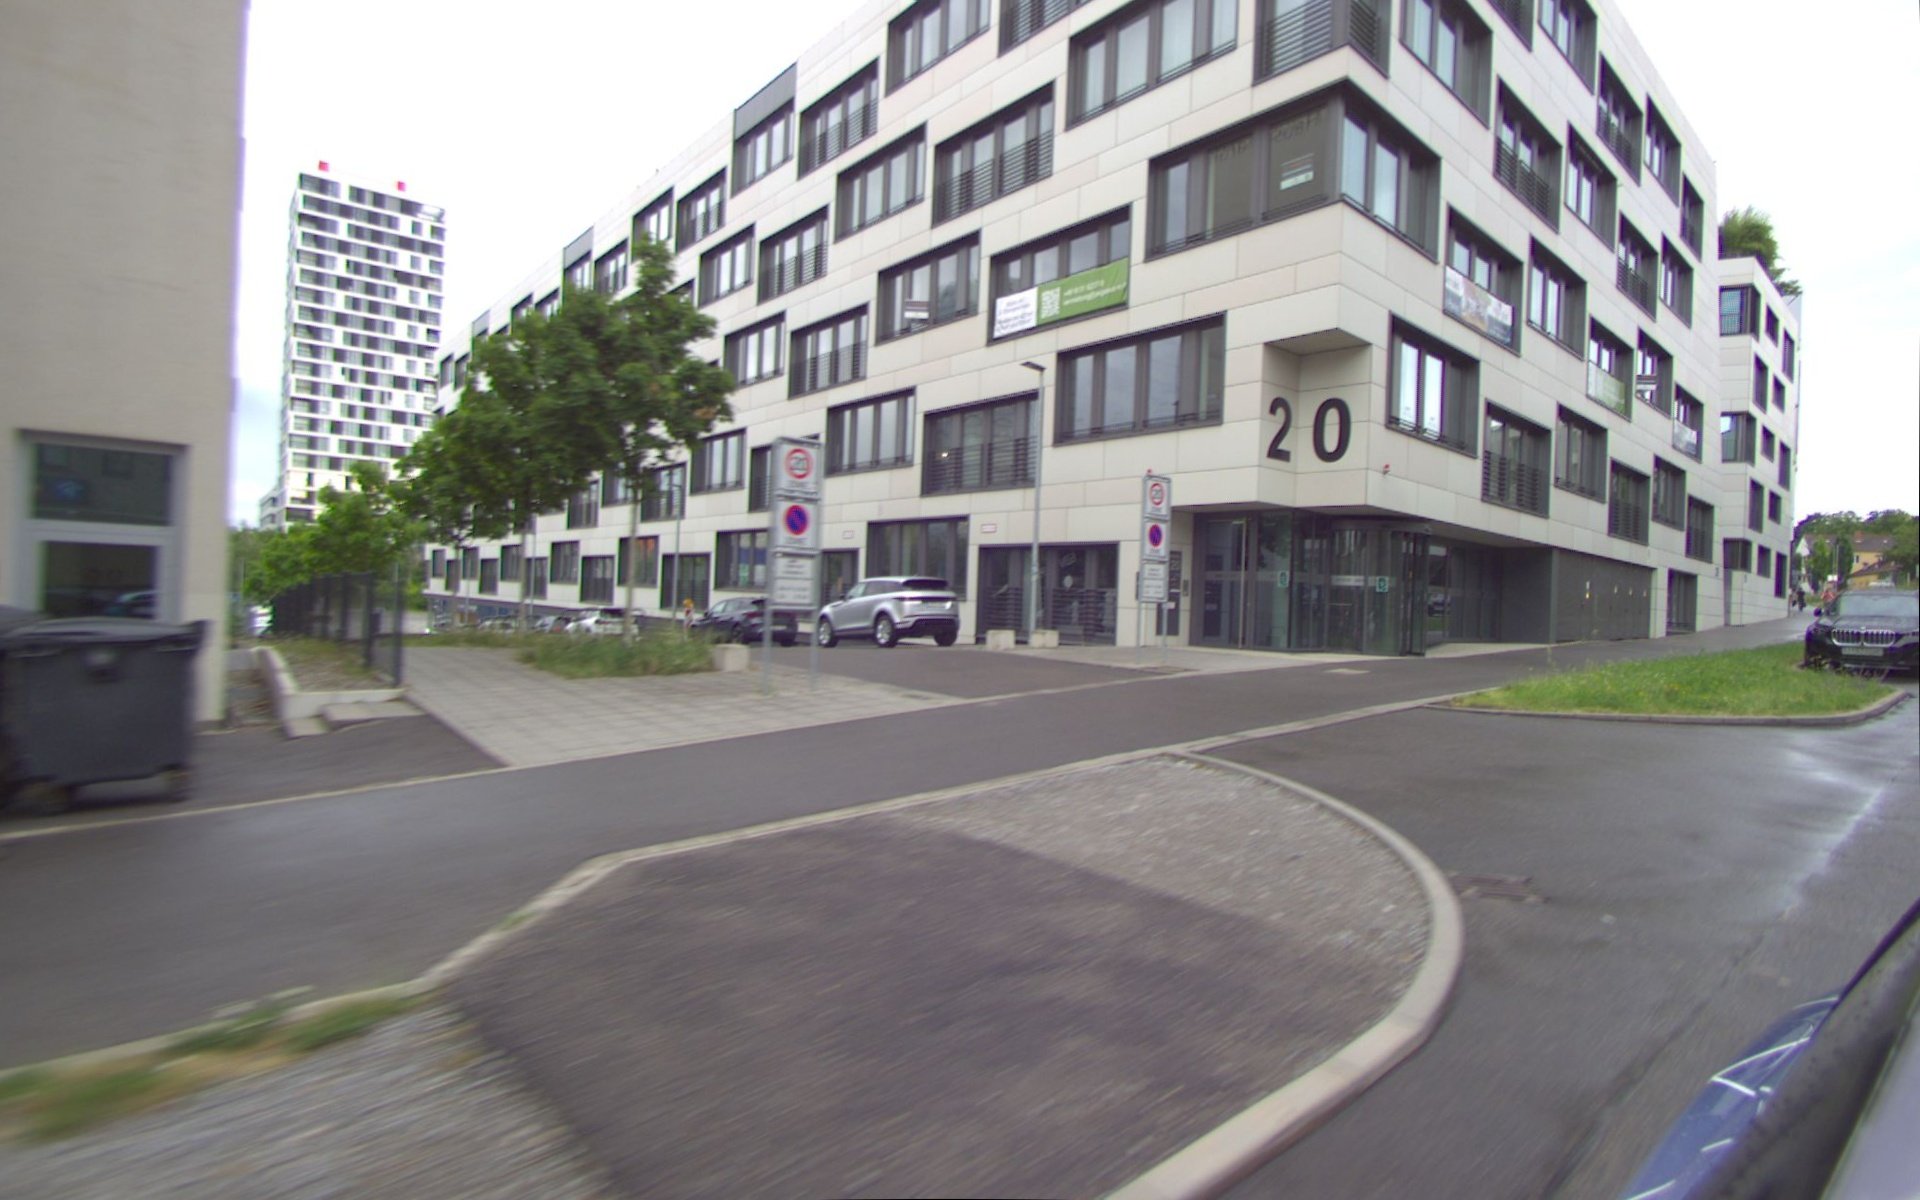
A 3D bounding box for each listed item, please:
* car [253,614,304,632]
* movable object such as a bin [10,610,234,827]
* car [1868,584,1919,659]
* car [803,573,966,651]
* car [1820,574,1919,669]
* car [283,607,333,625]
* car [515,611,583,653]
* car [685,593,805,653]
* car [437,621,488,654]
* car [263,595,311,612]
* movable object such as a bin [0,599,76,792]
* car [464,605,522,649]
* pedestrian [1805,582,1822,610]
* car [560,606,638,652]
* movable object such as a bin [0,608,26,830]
[{"bbox_3d":[-66.208,2.247,98.317,3.929,1.636,1.891,-1,-2,-40],"label":"car"},{"bbox_3d":[-6.092,0.779,7.423,1.170,1.336,1.238,-1,2,-39],"label":"movable object such as a bin"},{"bbox_3d":[23.095,0.459,24.113,4.299,1.625,1.751,-1,1,-42],"label":"car"},{"bbox_3d":[-1.837,0.302,23.486,1.859,1.636,3.996,0,-2,-38],"label":"car"},{"bbox_3d":[18.579,0.398,20.014,4.631,1.700,1.810,1,0,-42],"label":"car"},{"bbox_3d":[-69.970,1.735,108.599,4.328,1.808,1.891,-1,-2,-40],"label":"car"},{"bbox_3d":[-17.590,1.346,43.249,1.635,1.575,3.806,-1,1,-40],"label":"car"},{"bbox_3d":[-6.297,0.607,29.327,1.757,1.565,3.995,-1,1,-40],"label":"car"},{"bbox_3d":[-27.317,2.038,55.499,1.635,1.575,3.806,-1,1,-40],"label":"car"},{"bbox_3d":[-76.187,0.439,114.639,4.328,1.808,1.891,-1,-2,-40],"label":"car"},{"bbox_3d":[-7.702,0.712,7.942,1.092,1.420,1.264,0,1,-39],"label":"movable object such as a bin"},{"bbox_3d":[-23.830,1.308,51.553,1.708,2.039,3.995,-1,1,-40],"label":"car"},{"bbox_3d":[58.138,-0.283,68.909,0.822,1.818,1.190,2,2,42],"label":"pedestrian"},{"bbox_3d":[-13.988,1.088,39.130,1.635,1.575,3.806,-1,1,-40],"label":"car"},{"bbox_3d":[-6.955,0.785,6.716,1.038,1.420,1.024,0,1,-39],"label":"movable object such as a bin"}]
